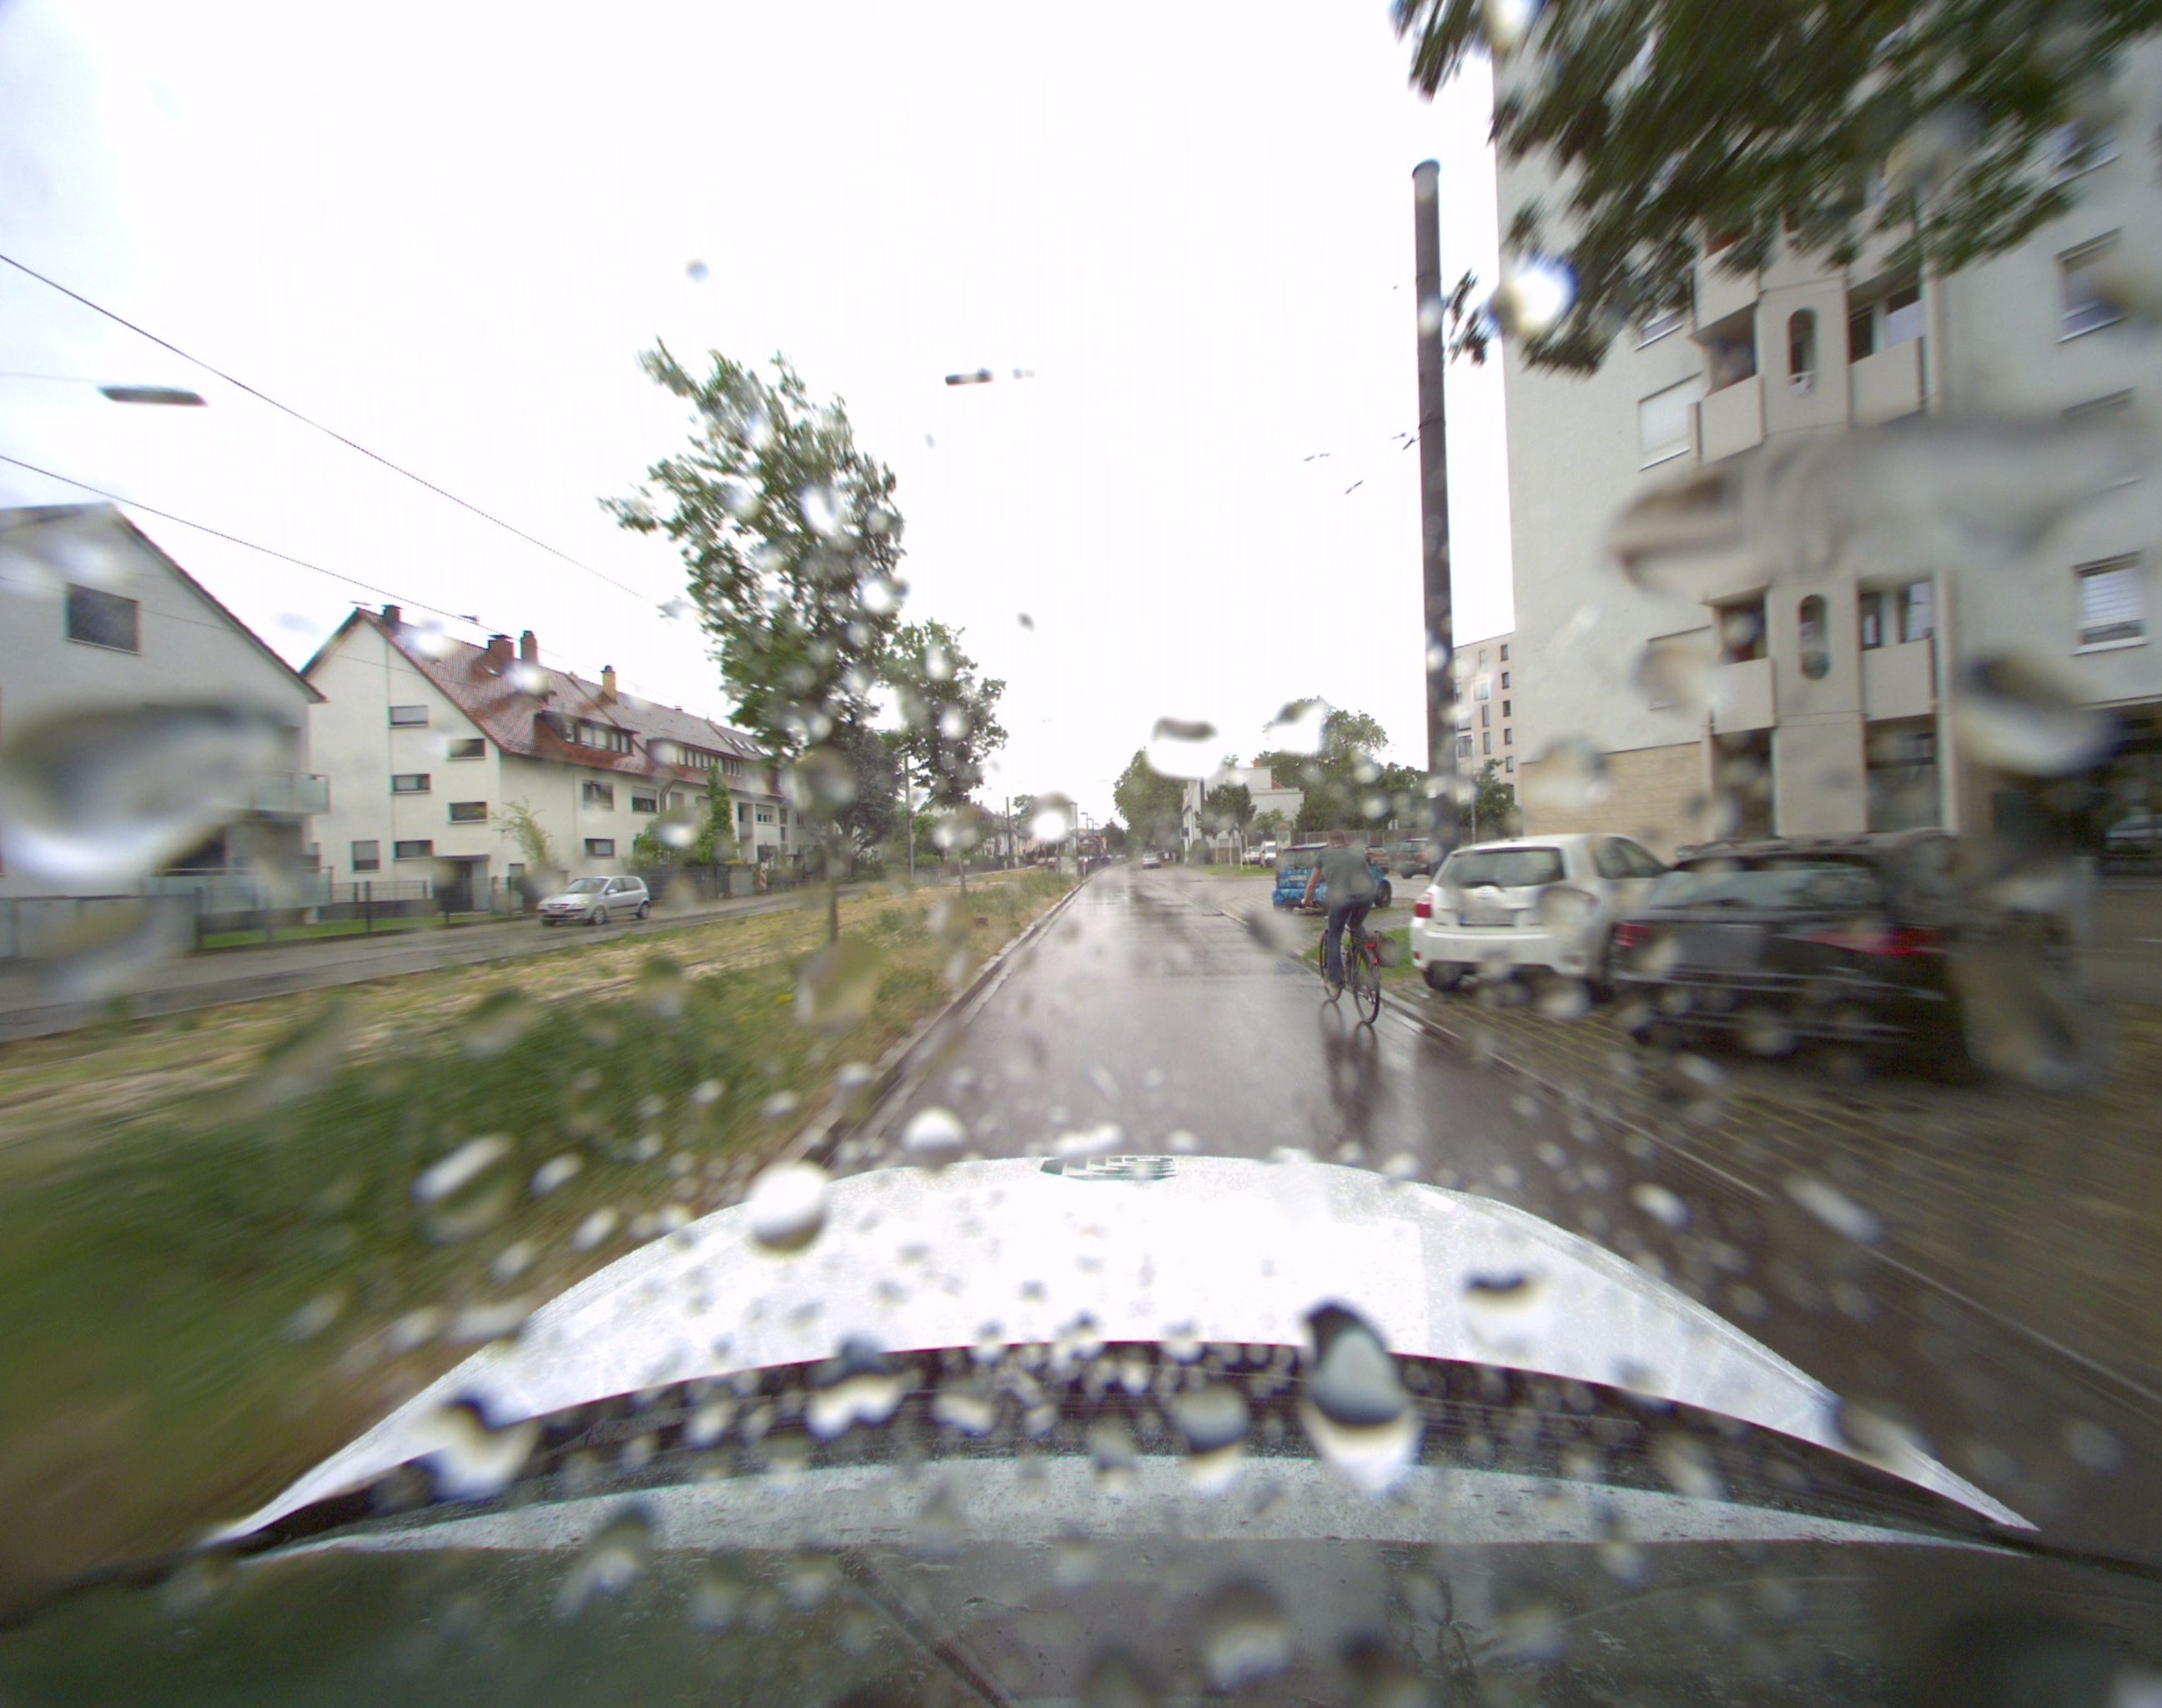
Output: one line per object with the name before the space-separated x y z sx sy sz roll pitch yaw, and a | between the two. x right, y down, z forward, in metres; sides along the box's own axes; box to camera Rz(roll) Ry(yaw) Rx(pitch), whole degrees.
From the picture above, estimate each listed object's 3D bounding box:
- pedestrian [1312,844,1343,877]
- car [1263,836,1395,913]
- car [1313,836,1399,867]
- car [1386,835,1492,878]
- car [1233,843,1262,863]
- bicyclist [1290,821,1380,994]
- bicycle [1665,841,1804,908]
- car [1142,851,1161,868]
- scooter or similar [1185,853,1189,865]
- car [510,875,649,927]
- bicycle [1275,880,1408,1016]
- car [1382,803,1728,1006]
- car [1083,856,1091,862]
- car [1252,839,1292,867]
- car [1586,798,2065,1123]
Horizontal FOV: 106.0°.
pedestrian | 11.791 0.309 38.968 0.840 1.517 1.085 -1 -1 -27
car | 5.553 0.439 18.193 2.578 1.548 1.584 -2 -1 -38
car | 14.139 -0.099 42.020 2.003 1.441 3.966 -1 -1 -25
car | 14.474 0.071 32.903 4.123 1.616 1.798 -1 0 -28
car | 13.874 -0.123 68.092 1.954 1.535 4.370 -1 0 5
bicyclist | 2.407 0.488 7.786 0.533 1.559 0.771 -1 -1 -4
bicycle | 10.617 0.325 13.344 0.659 1.006 2.059 -1 -1 2
car | 6.795 0.574 79.055 1.643 1.405 4.654 -5 -1 4
scooter or similar | 10.051 0.491 77.384 0.331 1.085 1.399 -1 -1 9
car | -15.386 1.410 25.242 1.987 1.414 3.658 -1 -1 0
bicycle | 2.427 0.820 7.837 0.535 1.093 1.946 -1 -1 -3
car | 5.267 0.377 8.825 4.207 1.547 1.745 -6 1 -38
car | 1.369 1.166 191.291 1.625 1.493 4.005 -1 -1 5
car | 13.014 -0.109 55.752 1.954 1.784 4.904 -1 0 5
car | 5.428 0.464 5.783 3.962 1.431 1.666 -5 1 -35
